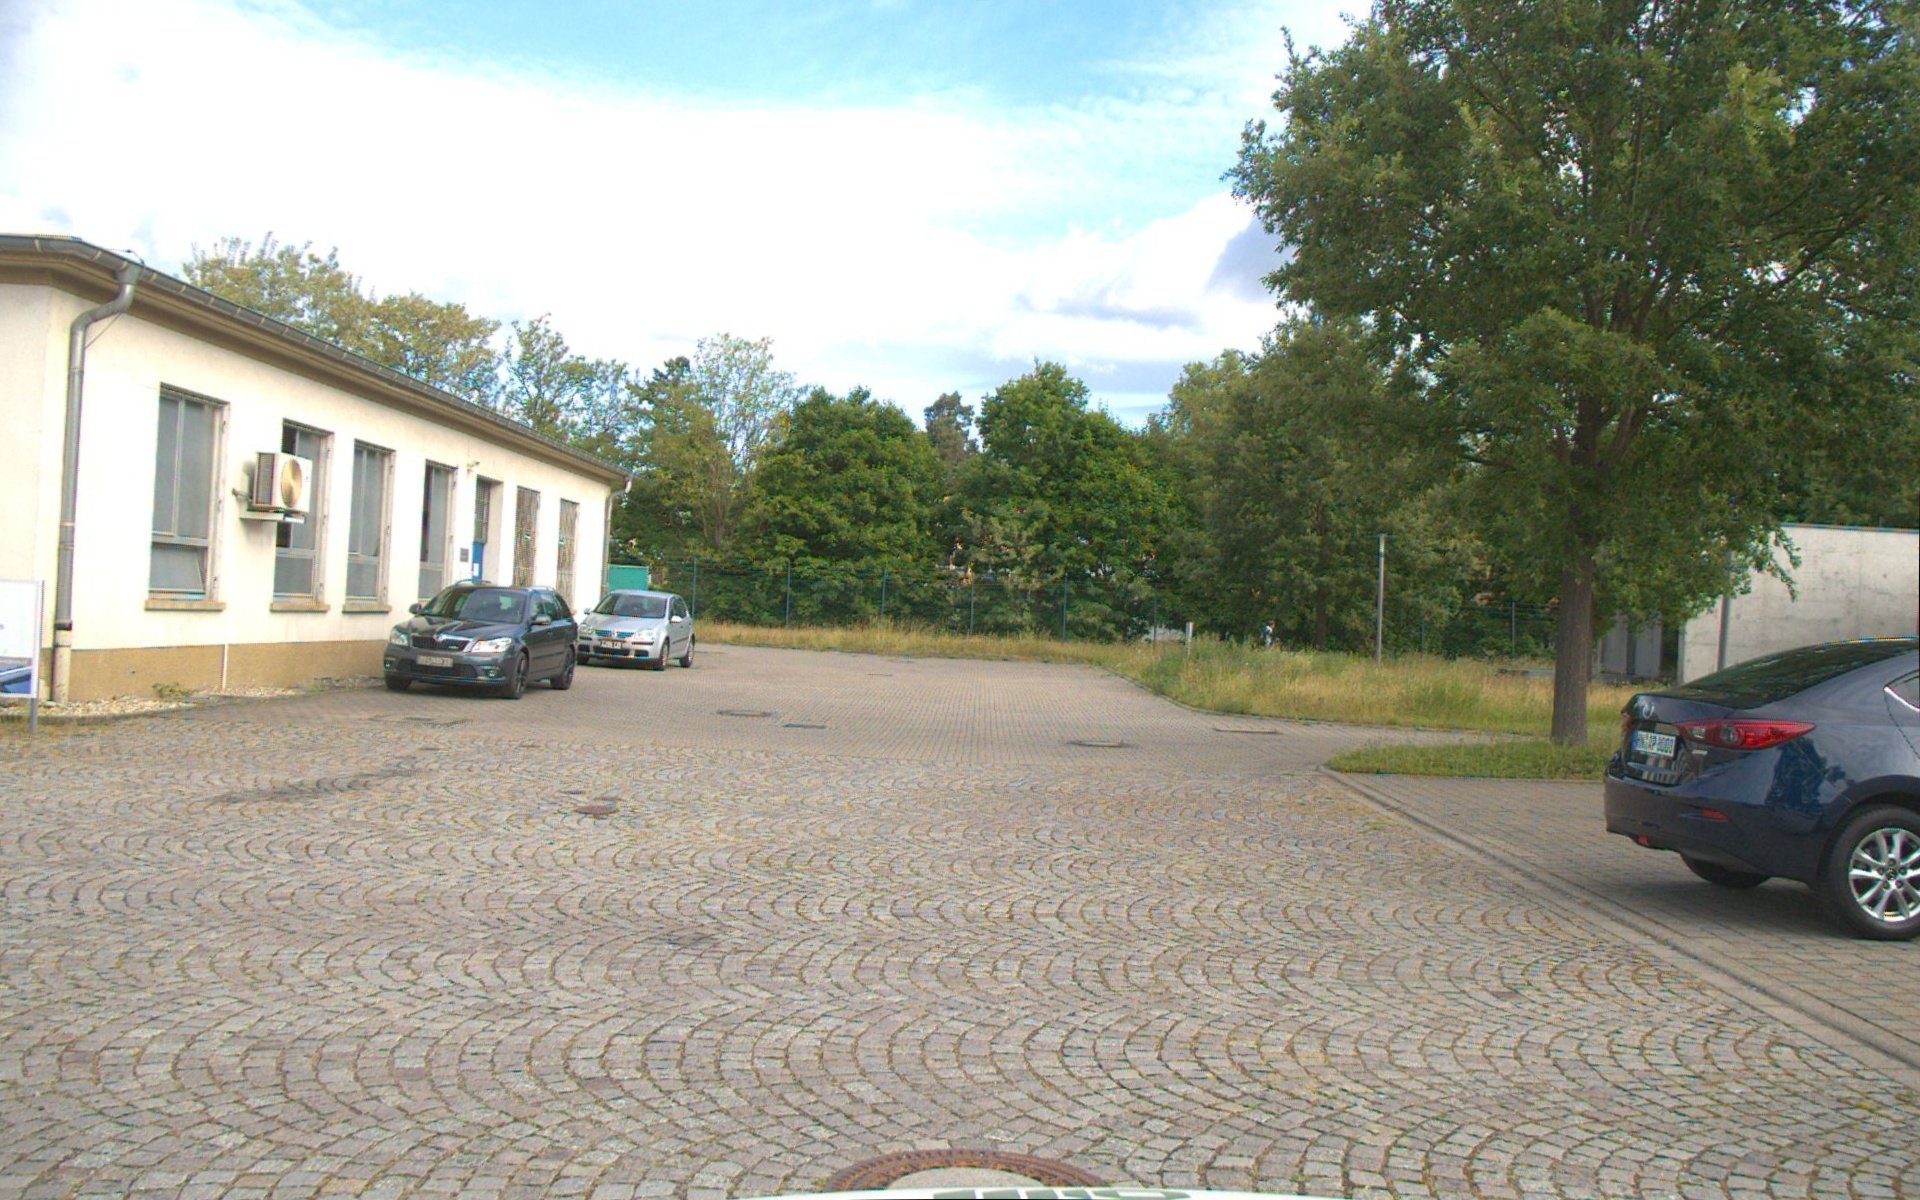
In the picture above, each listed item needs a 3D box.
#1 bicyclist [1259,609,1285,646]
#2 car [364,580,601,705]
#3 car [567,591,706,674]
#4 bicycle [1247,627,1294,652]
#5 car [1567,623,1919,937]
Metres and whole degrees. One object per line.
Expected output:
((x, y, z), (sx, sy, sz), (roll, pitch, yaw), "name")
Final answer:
((10.760, 0.957, 57.084), (0.754, 1.227, 0.588), (2, -1, 0), "bicyclist")
((-6.524, 0.553, 23.203), (1.885, 1.486, 4.810), (2, 0, 0), "car")
((-6.370, 0.615, 33.024), (1.885, 1.464, 4.367), (2, 0, 0), "car")
((10.715, 1.353, 57.075), (1.485, 0.805, 0.588), (3, -1, 0), "bicycle")
((5.814, 0.916, 8.906), (4.372, 1.472, 1.944), (1, -1, 0), "car")
